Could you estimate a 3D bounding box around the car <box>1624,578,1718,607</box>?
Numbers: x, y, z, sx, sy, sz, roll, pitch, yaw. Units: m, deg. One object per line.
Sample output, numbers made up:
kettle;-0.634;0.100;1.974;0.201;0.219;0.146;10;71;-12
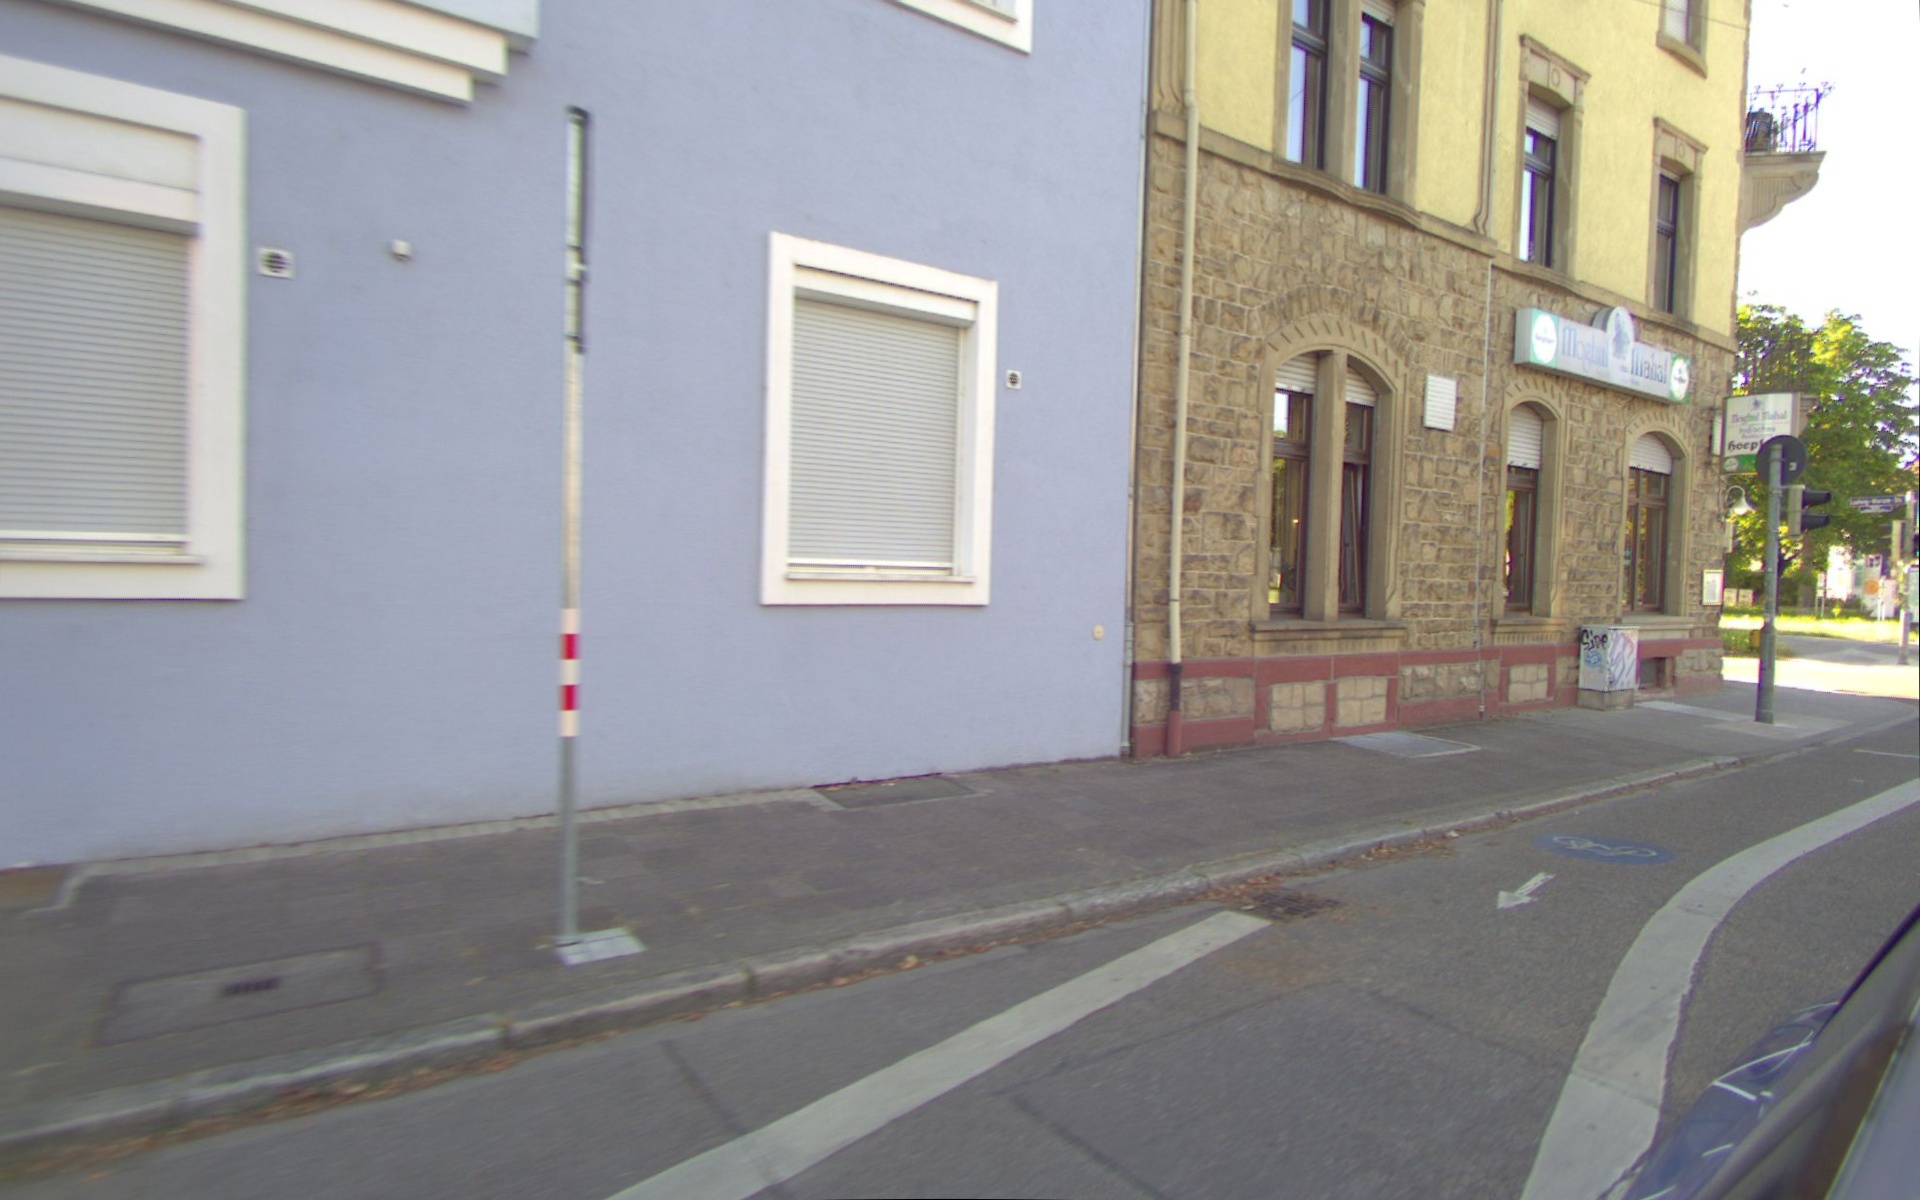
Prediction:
car;40.490;-0.459;57.732;1.782;1.451;4.002;2;1;-35
